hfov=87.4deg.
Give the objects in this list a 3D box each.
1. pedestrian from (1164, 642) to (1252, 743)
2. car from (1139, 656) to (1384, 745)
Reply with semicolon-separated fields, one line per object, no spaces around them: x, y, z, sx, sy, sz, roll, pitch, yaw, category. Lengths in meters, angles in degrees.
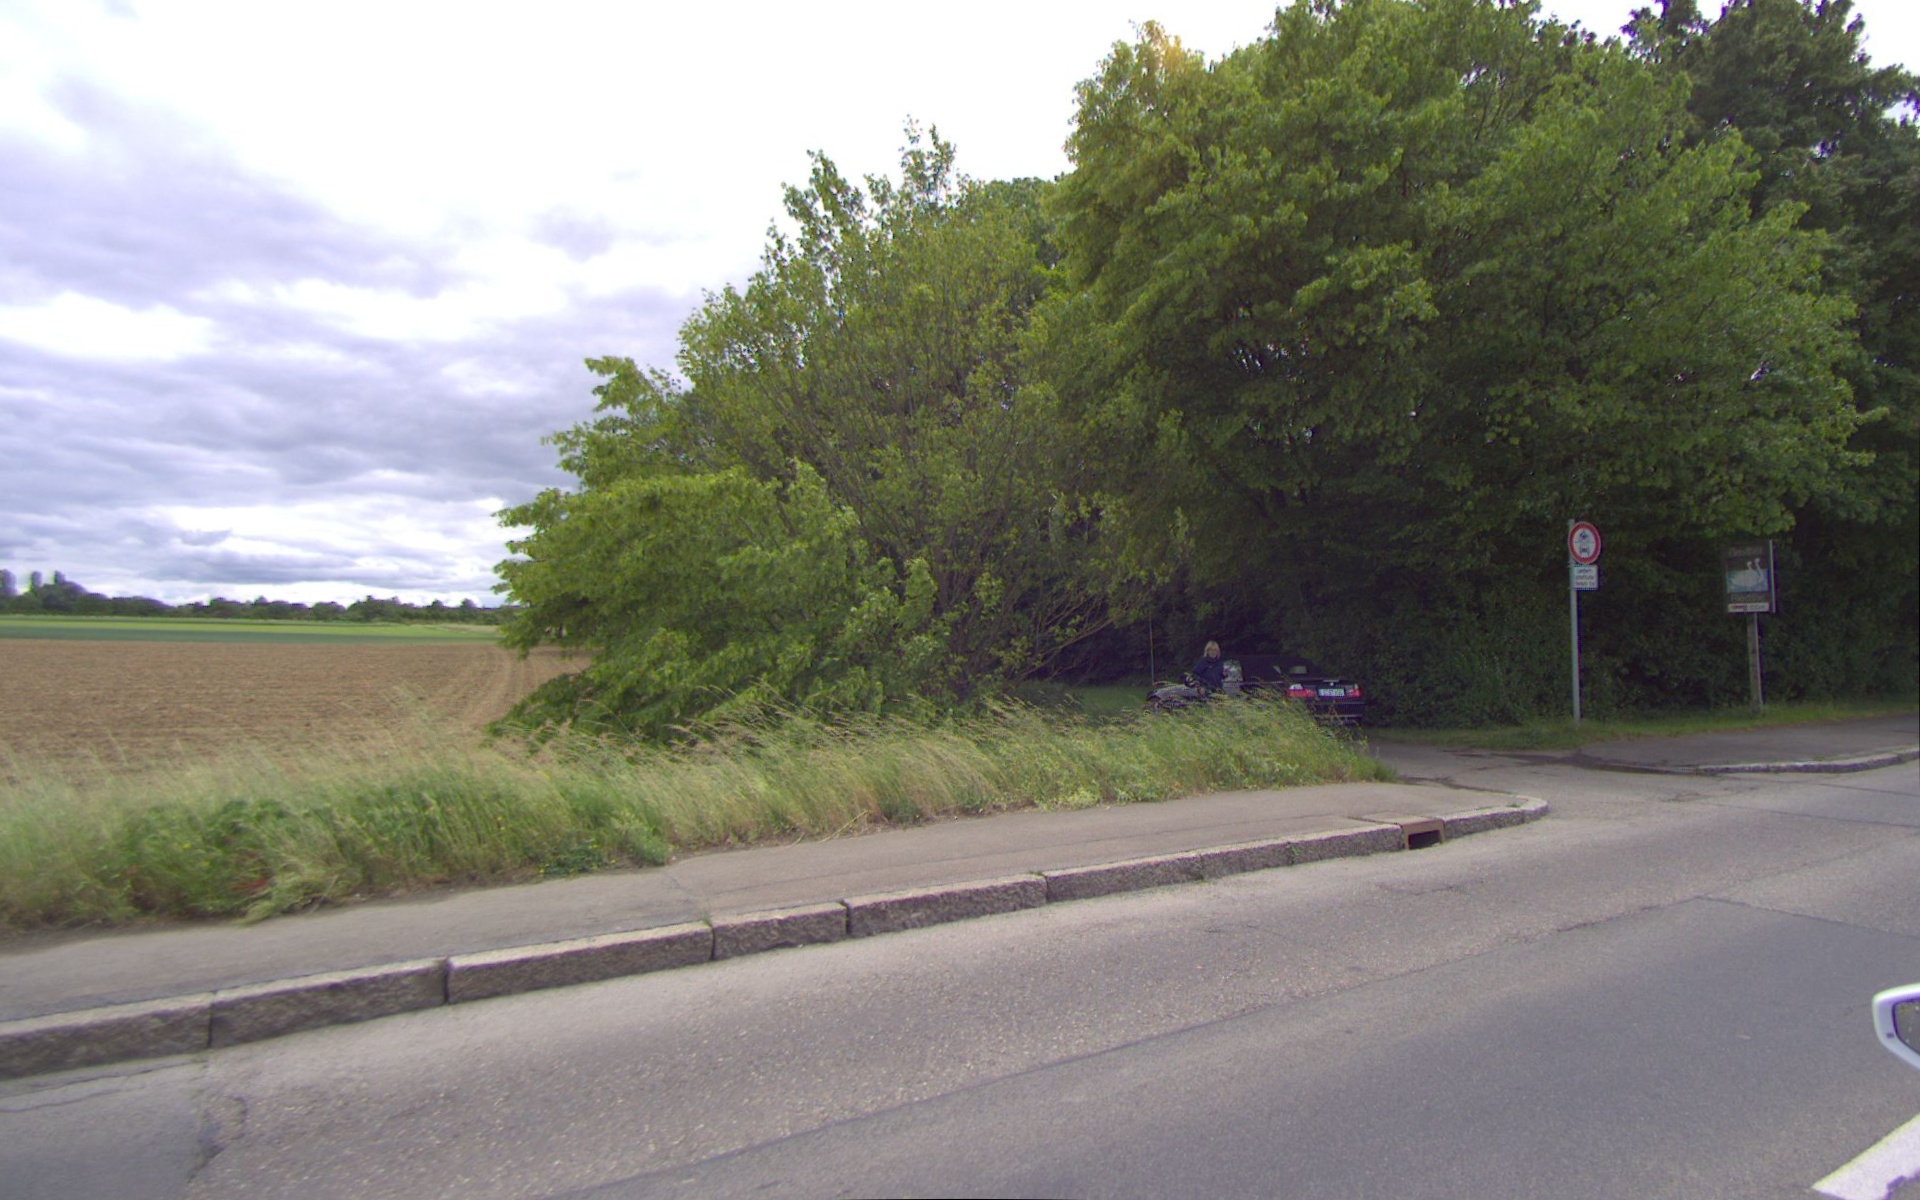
3.985;1.450;16.152;0.930;1.550;1.031;1;-2;-29;pedestrian
4.978;1.636;17.157;1.723;1.315;3.973;1;-4;-28;car
